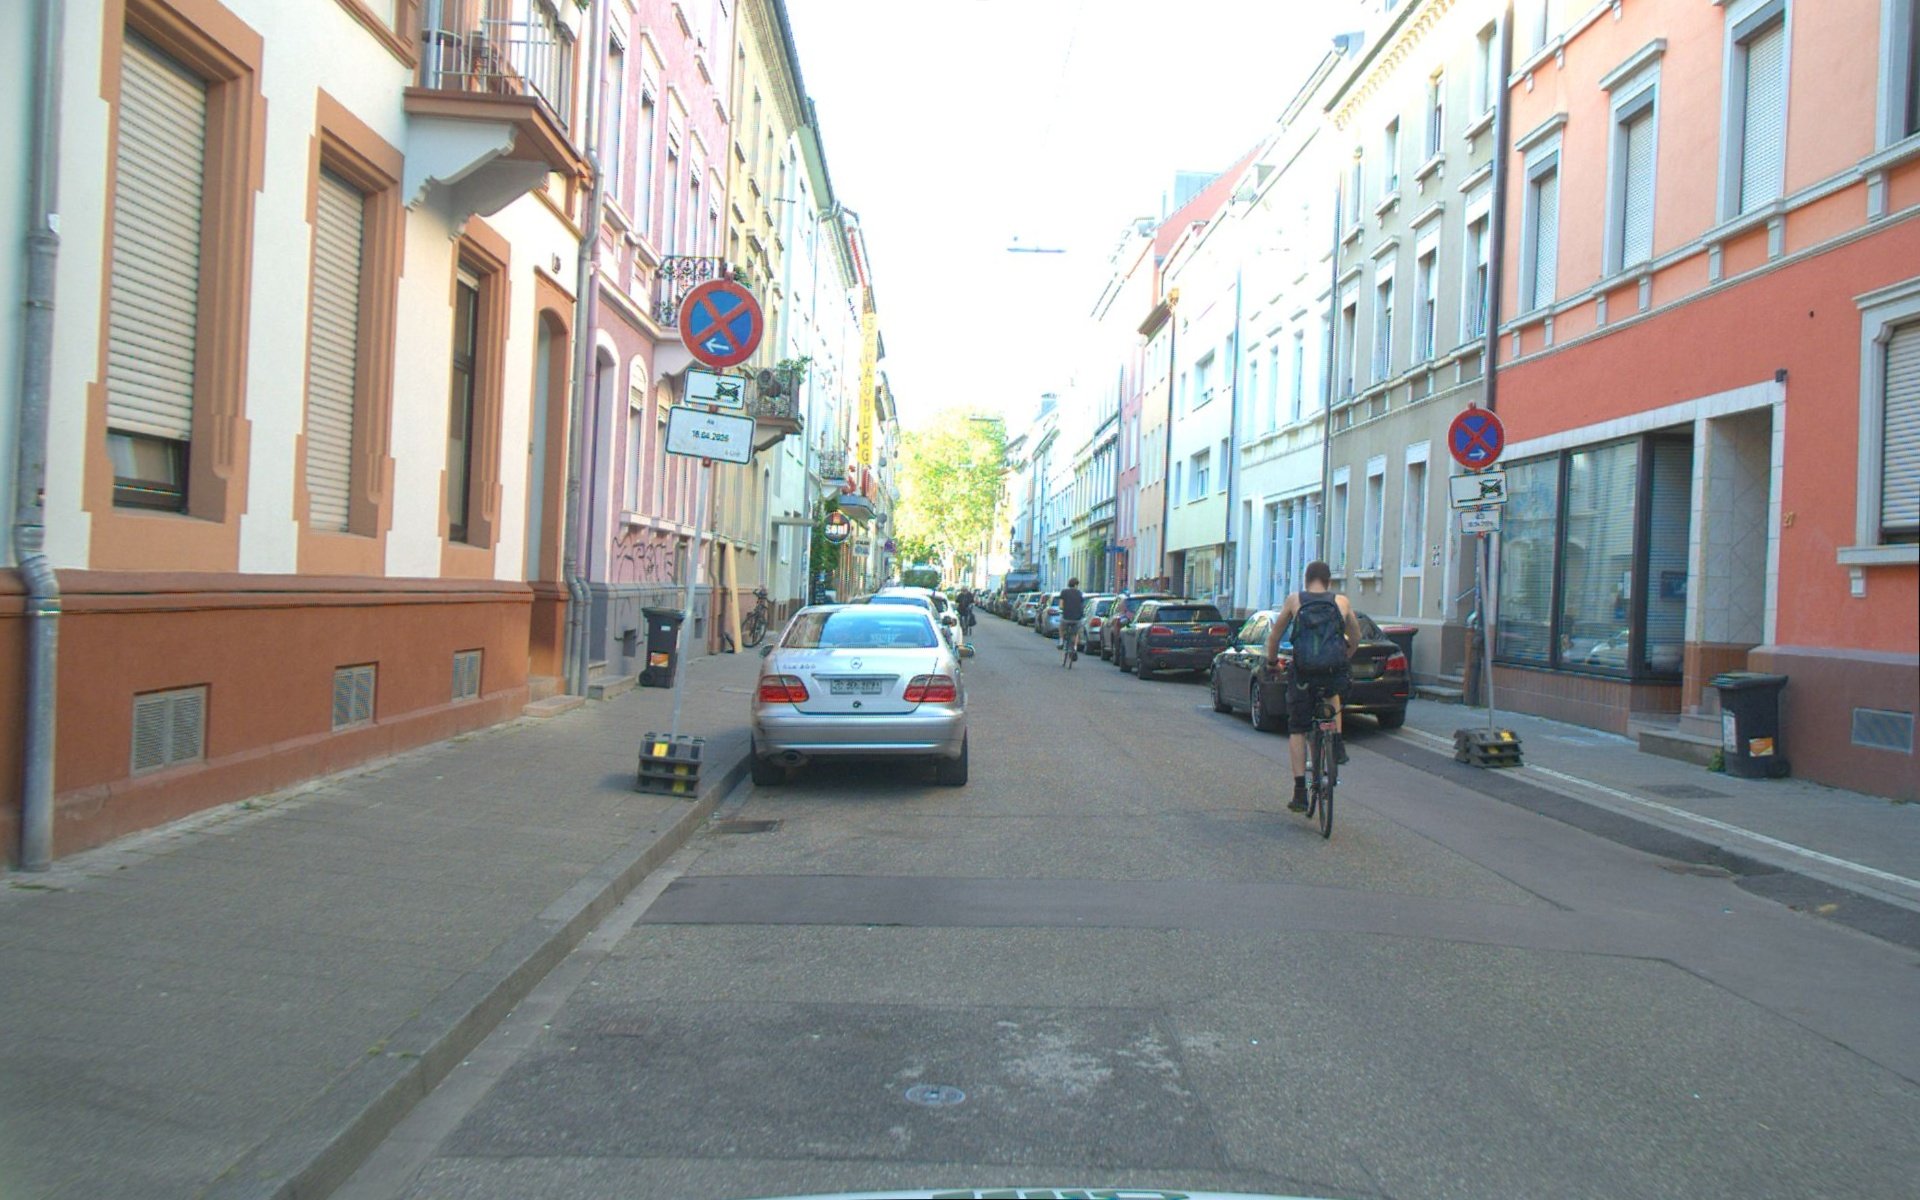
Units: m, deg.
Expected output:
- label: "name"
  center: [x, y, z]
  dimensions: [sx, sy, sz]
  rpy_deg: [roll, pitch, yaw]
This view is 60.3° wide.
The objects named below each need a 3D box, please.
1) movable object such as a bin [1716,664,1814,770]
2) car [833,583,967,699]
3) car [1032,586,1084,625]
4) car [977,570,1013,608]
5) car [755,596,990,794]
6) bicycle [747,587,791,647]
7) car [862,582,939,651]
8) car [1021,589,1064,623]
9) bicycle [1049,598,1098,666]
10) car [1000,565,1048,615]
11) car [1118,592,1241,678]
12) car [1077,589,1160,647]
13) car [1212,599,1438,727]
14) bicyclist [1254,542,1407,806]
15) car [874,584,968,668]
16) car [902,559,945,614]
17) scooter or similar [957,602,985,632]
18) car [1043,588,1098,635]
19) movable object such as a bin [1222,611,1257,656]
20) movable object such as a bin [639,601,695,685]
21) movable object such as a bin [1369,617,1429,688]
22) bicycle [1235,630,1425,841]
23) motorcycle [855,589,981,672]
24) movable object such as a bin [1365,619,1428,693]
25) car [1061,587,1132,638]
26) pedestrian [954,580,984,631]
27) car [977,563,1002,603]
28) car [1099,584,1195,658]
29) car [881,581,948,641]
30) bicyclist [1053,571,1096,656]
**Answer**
- label: "movable object such as a bin"
  center: [7.306, 1.057, 15.031]
  dimensions: [0.585, 0.922, 0.579]
  rpy_deg: [0, -1, -3]
- label: "car"
  center: [-0.796, 0.525, 24.297]
  dimensions: [1.675, 1.407, 4.357]
  rpy_deg: [2, 1, 1]
- label: "car"
  center: [3.699, 0.193, 62.985]
  dimensions: [1.676, 1.418, 3.999]
  rpy_deg: [0, 0, -1]
- label: "car"
  center: [2.420, -0.734, 115.704]
  dimensions: [2.261, 2.582, 6.768]
  rpy_deg: [0, 0, -1]
- label: "car"
  center: [-0.666, 0.677, 14.096]
  dimensions: [1.676, 1.407, 4.504]
  rpy_deg: [0, 0, -1]
- label: "bicycle"
  center: [-3.761, 0.322, 32.717]
  dimensions: [0.580, 1.107, 2.078]
  rpy_deg: [4, 0, -1]
- label: "car"
  center: [-1.305, 0.349, 37.066]
  dimensions: [1.638, 1.467, 3.767]
  rpy_deg: [0, 0, -1]
- label: "car"
  center: [3.687, 0.249, 74.623]
  dimensions: [1.676, 1.472, 3.999]
  rpy_deg: [0, 0, -1]
- label: "bicycle"
  center: [2.285, 0.625, 33.488]
  dimensions: [0.688, 1.228, 2.342]
  rpy_deg: [4, 1, -2]
- label: "car"
  center: [3.443, -0.532, 90.275]
  dimensions: [2.261, 2.582, 6.768]
  rpy_deg: [0, 0, -1]
- label: "car"
  center: [4.196, 0.636, 32.119]
  dimensions: [1.780, 1.548, 3.999]
  rpy_deg: [0, 0, -1]
- label: "car"
  center: [4.014, 0.447, 42.472]
  dimensions: [1.676, 1.407, 3.999]
  rpy_deg: [0, 0, -1]
- label: "car"
  center: [4.558, 0.723, 21.385]
  dimensions: [1.780, 1.463, 4.789]
  rpy_deg: [0, 0, -1]
- label: "bicyclist"
  center: [2.496, 0.479, 11.246]
  dimensions: [0.688, 1.661, 1.090]
  rpy_deg: [4, 0, -1]
- label: "car"
  center: [-0.729, 0.453, 31.198]
  dimensions: [1.638, 1.467, 4.164]
  rpy_deg: [0, 0, -1]
- label: "car"
  center: [-1.775, -0.649, 78.801]
  dimensions: [1.871, 2.540, 4.163]
  rpy_deg: [2, 0, -3]
- label: "scooter or similar"
  center: [0.339, 0.537, 53.121]
  dimensions: [0.756, 0.888, 0.769]
  rpy_deg: [4, 0, -8]
- label: "car"
  center: [3.831, 0.383, 57.802]
  dimensions: [1.588, 1.577, 3.999]
  rpy_deg: [0, 0, -1]
- label: "movable object such as a bin"
  center: [6.855, 0.812, 40.566]
  dimensions: [0.790, 1.094, 0.678]
  rpy_deg: [0, 0, 4]
- label: "movable object such as a bin"
  center: [-3.495, 0.510, 19.750]
  dimensions: [0.532, 0.961, 0.487]
  rpy_deg: [4, 0, 0]
- label: "movable object such as a bin"
  center: [6.970, 0.830, 26.275]
  dimensions: [0.790, 1.094, 0.678]
  rpy_deg: [0, 0, 4]
- label: "bicycle"
  center: [2.488, 0.861, 11.417]
  dimensions: [0.688, 1.229, 2.341]
  rpy_deg: [4, 0, -1]
- label: "motorcycle"
  center: [-0.717, 0.512, 28.479]
  dimensions: [2.114, 1.383, 0.537]
  rpy_deg: [-1, 1, -19]
- label: "movable object such as a bin"
  center: [6.646, 0.837, 25.187]
  dimensions: [0.722, 1.094, 0.676]
  rpy_deg: [0, 0, -8]
- label: "car"
  center: [3.925, 0.336, 48.104]
  dimensions: [1.676, 1.407, 3.999]
  rpy_deg: [0, 0, -1]
- label: "pedestrian"
  center: [0.293, 0.178, 53.609]
  dimensions: [0.756, 1.606, 0.899]
  rpy_deg: [4, 0, -8]
- label: "car"
  center: [2.896, -1.617, 163.098]
  dimensions: [2.261, 3.833, 6.768]
  rpy_deg: [0, 0, -1]
- label: "car"
  center: [4.218, 0.453, 37.897]
  dimensions: [1.676, 1.583, 3.999]
  rpy_deg: [0, 0, -1]
- label: "car"
  center: [-1.155, 0.274, 42.730]
  dimensions: [1.638, 1.467, 3.753]
  rpy_deg: [0, 0, -1]
- label: "bicyclist"
  center: [2.305, 0.265, 33.393]
  dimensions: [0.688, 1.632, 0.812]
  rpy_deg: [4, 1, -2]
